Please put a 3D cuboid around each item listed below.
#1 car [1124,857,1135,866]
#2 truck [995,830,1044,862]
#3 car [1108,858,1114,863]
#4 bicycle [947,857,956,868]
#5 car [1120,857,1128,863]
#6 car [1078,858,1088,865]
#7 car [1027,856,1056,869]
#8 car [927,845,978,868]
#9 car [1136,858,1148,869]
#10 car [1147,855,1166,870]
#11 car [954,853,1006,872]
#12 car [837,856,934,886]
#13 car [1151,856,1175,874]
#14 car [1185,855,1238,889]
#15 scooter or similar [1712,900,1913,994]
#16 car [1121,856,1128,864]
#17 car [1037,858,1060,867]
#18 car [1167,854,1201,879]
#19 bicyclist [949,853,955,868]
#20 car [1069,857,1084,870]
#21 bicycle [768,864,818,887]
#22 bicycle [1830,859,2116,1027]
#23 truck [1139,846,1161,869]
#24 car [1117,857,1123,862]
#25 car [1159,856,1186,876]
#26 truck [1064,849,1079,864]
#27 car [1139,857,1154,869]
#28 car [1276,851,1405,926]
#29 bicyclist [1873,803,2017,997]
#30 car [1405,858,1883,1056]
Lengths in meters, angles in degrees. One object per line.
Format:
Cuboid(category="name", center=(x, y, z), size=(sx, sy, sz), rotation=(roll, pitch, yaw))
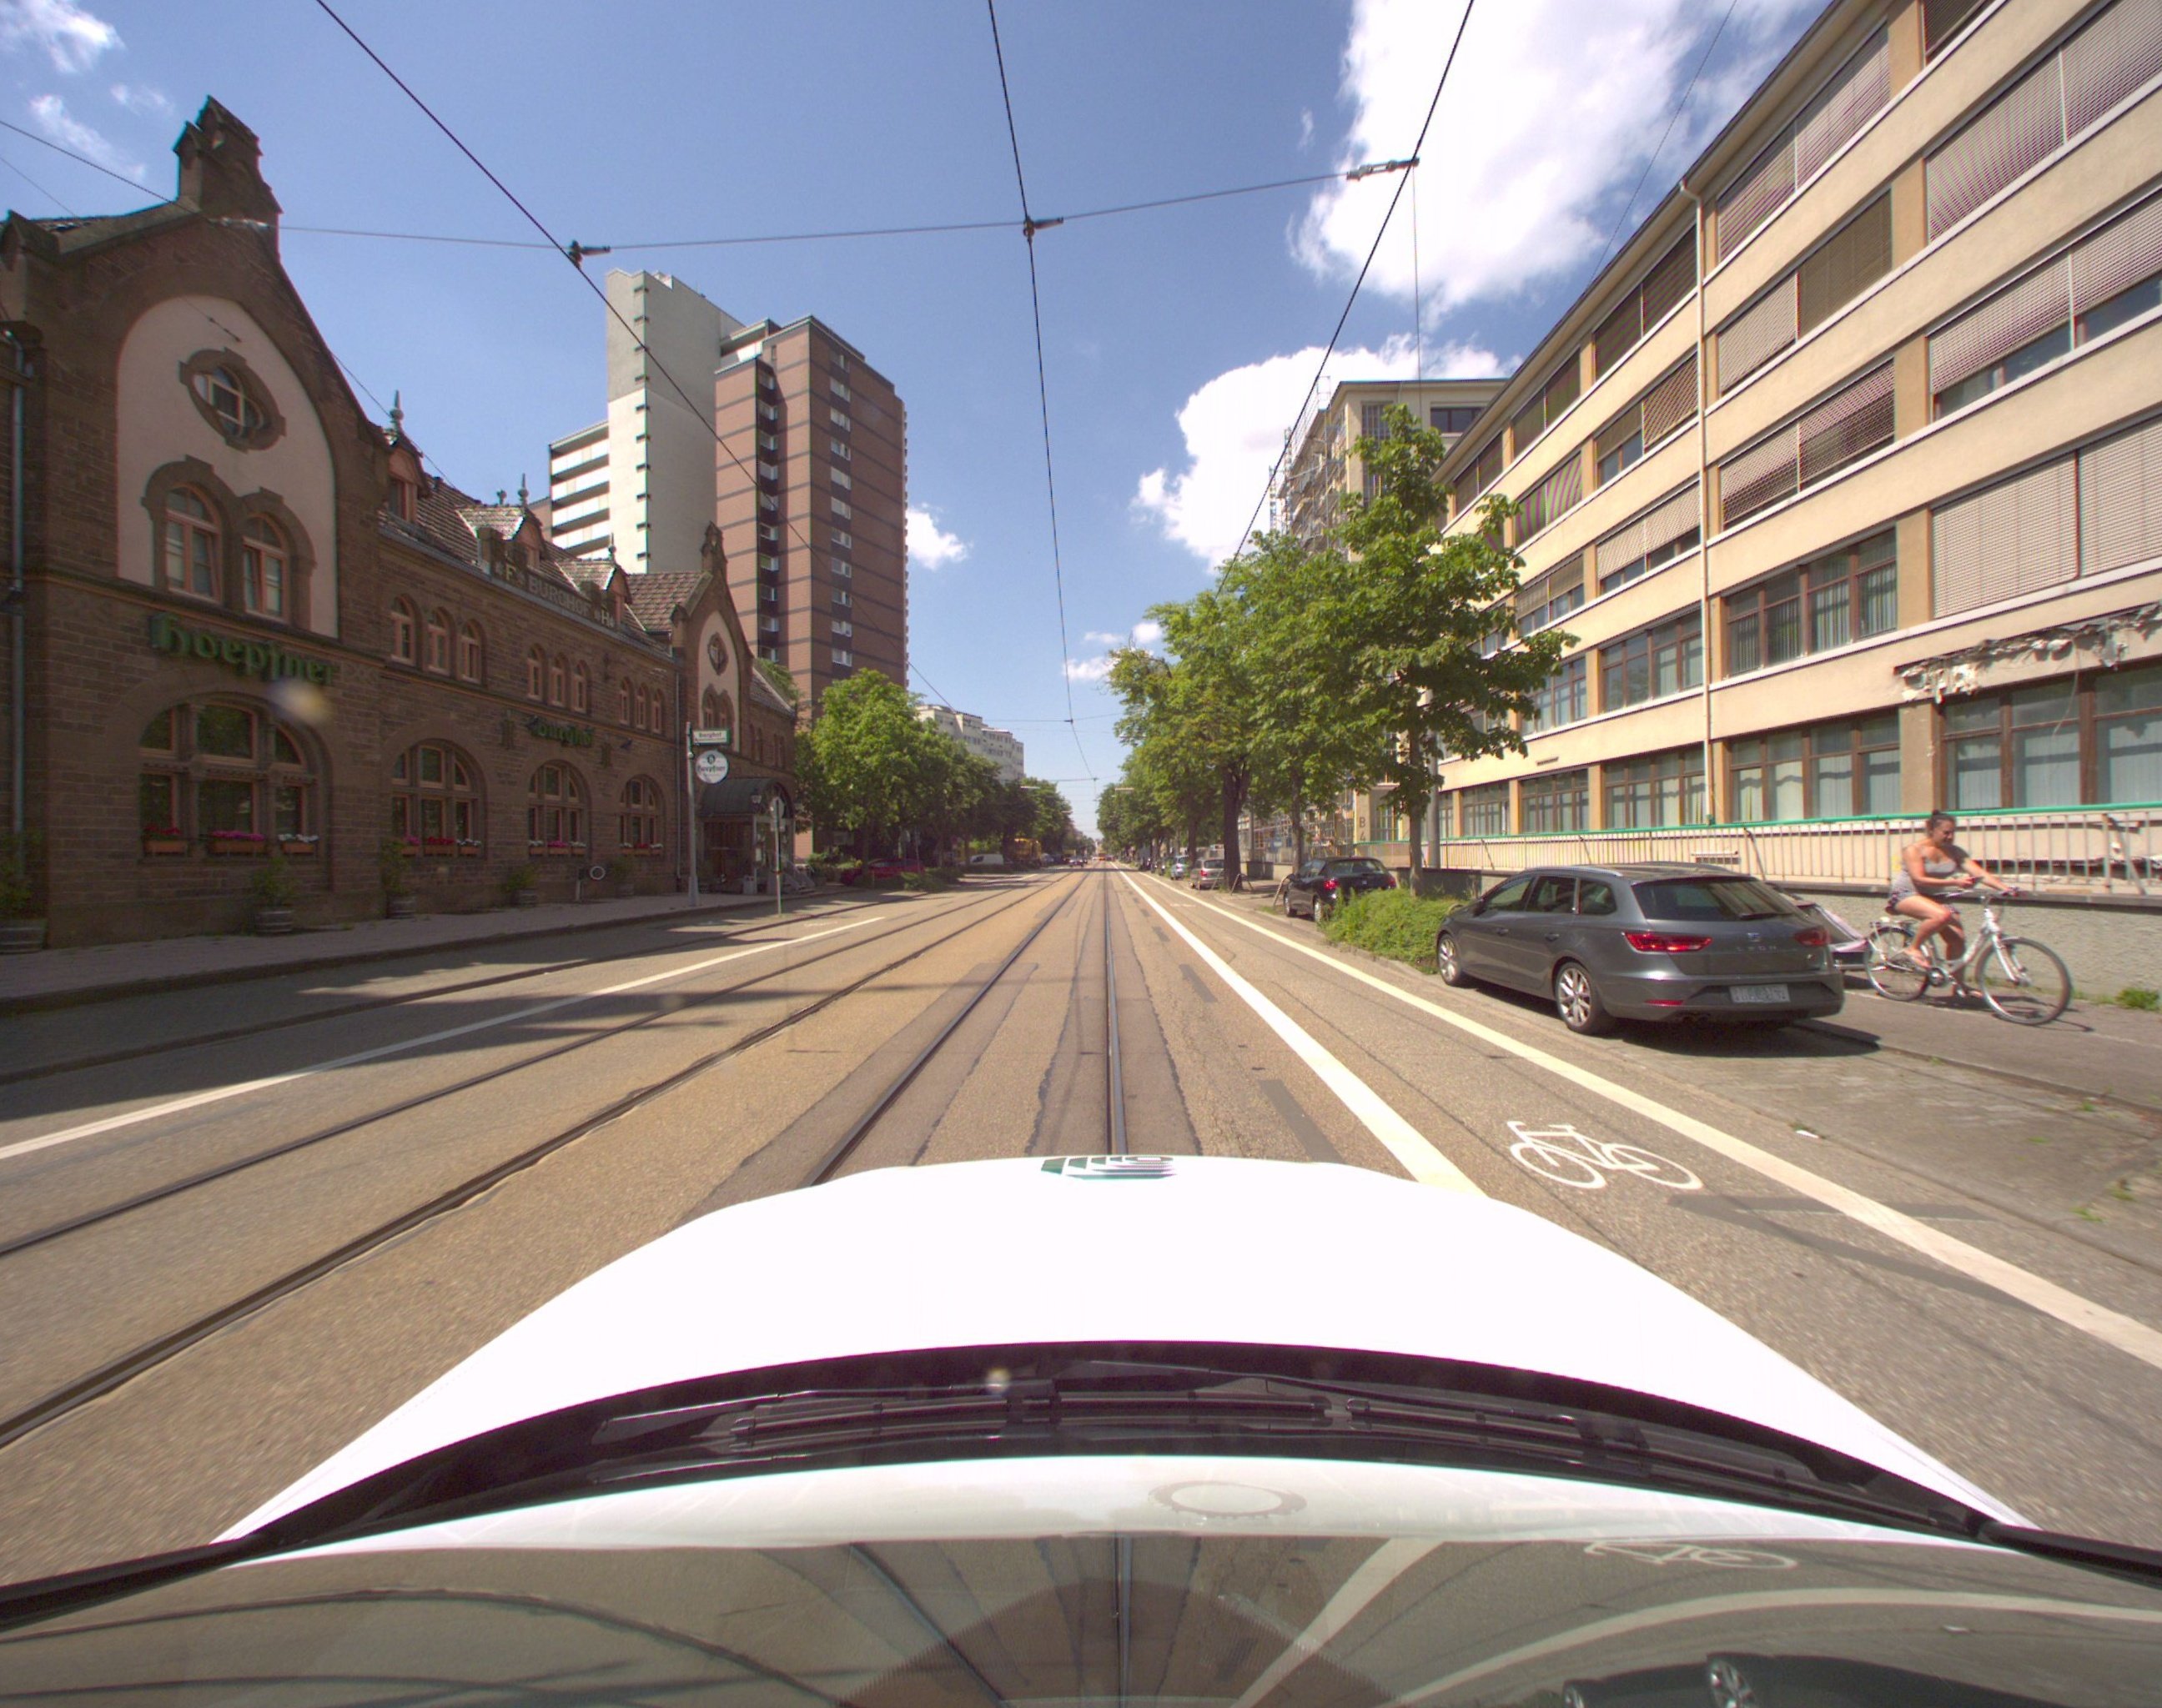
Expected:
Cuboid(category="car", center=(8.663, 1.388, 146.021), size=(1.634, 1.485, 3.870), rotation=(-2, -1, -1))
Cuboid(category="truck", center=(-7.818, -0.927, 106.066), size=(2.695, 3.842, 11.009), rotation=(0, -1, 16))
Cuboid(category="car", center=(8.653, 1.819, 232.724), size=(1.774, 1.346, 3.417), rotation=(-1, -1, 2))
Cuboid(category="bicycle", center=(-12.838, 0.836, 80.811), size=(0.516, 1.047, 1.876), rotation=(0, 0, 0))
Cuboid(category="car", center=(10.918, 1.528, 206.581), size=(1.704, 1.423, 4.310), rotation=(-2, -1, 1))
Cuboid(category="car", center=(0.374, 1.430, 158.122), size=(1.767, 1.397, 4.289), rotation=(-2, 0, 2))
Cuboid(category="car", center=(-6.629, 1.441, 135.868), size=(1.898, 1.935, 4.785), rotation=(-4, -1, 44))
Cuboid(category="car", center=(-15.399, 0.350, 98.280), size=(2.157, 2.566, 6.766), rotation=(-1, -2, 31))
Cuboid(category="car", center=(8.425, 1.315, 112.343), size=(1.637, 1.534, 3.788), rotation=(-1, 0, 3))
Cuboid(category="car", center=(7.572, 0.848, 82.138), size=(1.816, 1.471, 4.405), rotation=(-1, 0, 4))
Cuboid(category="car", center=(-9.506, 0.787, 76.633), size=(4.563, 1.791, 1.882), rotation=(0, 0, -31))
Cuboid(category="car", center=(-10.595, 0.895, 44.215), size=(4.791, 1.566, 1.984), rotation=(0, 0, -27))
Cuboid(category="car", center=(7.172, 0.922, 71.302), size=(1.817, 1.471, 4.489), rotation=(-1, 0, 3))
Cuboid(category="car", center=(6.119, 0.804, 38.620), size=(1.667, 1.499, 4.363), rotation=(-1, 0, -1))
Cuboid(category="scooter or similar", center=(7.794, 0.955, 8.786), size=(0.759, 0.807, 1.556), rotation=(-3, 0, 2))
Cuboid(category="car", center=(9.988, 1.426, 187.161), size=(1.586, 1.617, 3.908), rotation=(-2, -1, 1))
Cuboid(category="car", center=(-6.009, 1.553, 149.250), size=(1.740, 1.433, 4.024), rotation=(-5, -1, 44))
Cuboid(category="car", center=(6.479, 0.760, 51.581), size=(1.665, 1.517, 4.202), rotation=(-1, 0, 1))
Cuboid(category="bicyclist", center=(-12.829, 0.613, 80.846), size=(0.479, 1.481, 0.780), rotation=(0, 0, 0))
Cuboid(category="car", center=(-0.626, 1.351, 116.479), size=(1.824, 1.681, 4.186), rotation=(-1, 0, 2))
Cuboid(category="bicycle", center=(-12.628, 0.957, 35.750), size=(1.999, 0.891, 0.594), rotation=(4, -1, -16))
Cuboid(category="bicycle", center=(7.725, 0.696, 7.197), size=(0.552, 1.265, 1.774), rotation=(-3, 0, 2))
Cuboid(category="truck", center=(7.799, 0.428, 92.737), size=(2.007, 2.489, 5.957), rotation=(-1, 0, 1))
Cuboid(category="car", center=(10.755, 1.530, 224.814), size=(1.704, 1.423, 4.310), rotation=(-2, -1, 1))
Cuboid(category="car", center=(6.805, 0.869, 60.850), size=(1.665, 1.438, 4.042), rotation=(-1, 0, 1))
Cuboid(category="truck", center=(-1.867, 0.421, 162.490), size=(2.350, 2.852, 7.384), rotation=(-2, 0, 3))
Cuboid(category="car", center=(8.087, 1.095, 100.589), size=(1.638, 1.534, 3.948), rotation=(-1, 0, 1))
Cuboid(category="car", center=(5.692, 0.696, 18.347), size=(1.665, 1.489, 3.981), rotation=(-1, 0, 1))
Cuboid(category="bicyclist", center=(7.711, 0.395, 7.297), size=(0.578, 1.648, 0.599), rotation=(-3, 0, 1))
Cuboid(category="car", center=(5.073, 0.766, 8.349), size=(1.665, 1.408, 4.749), rotation=(-1, 0, 1))
